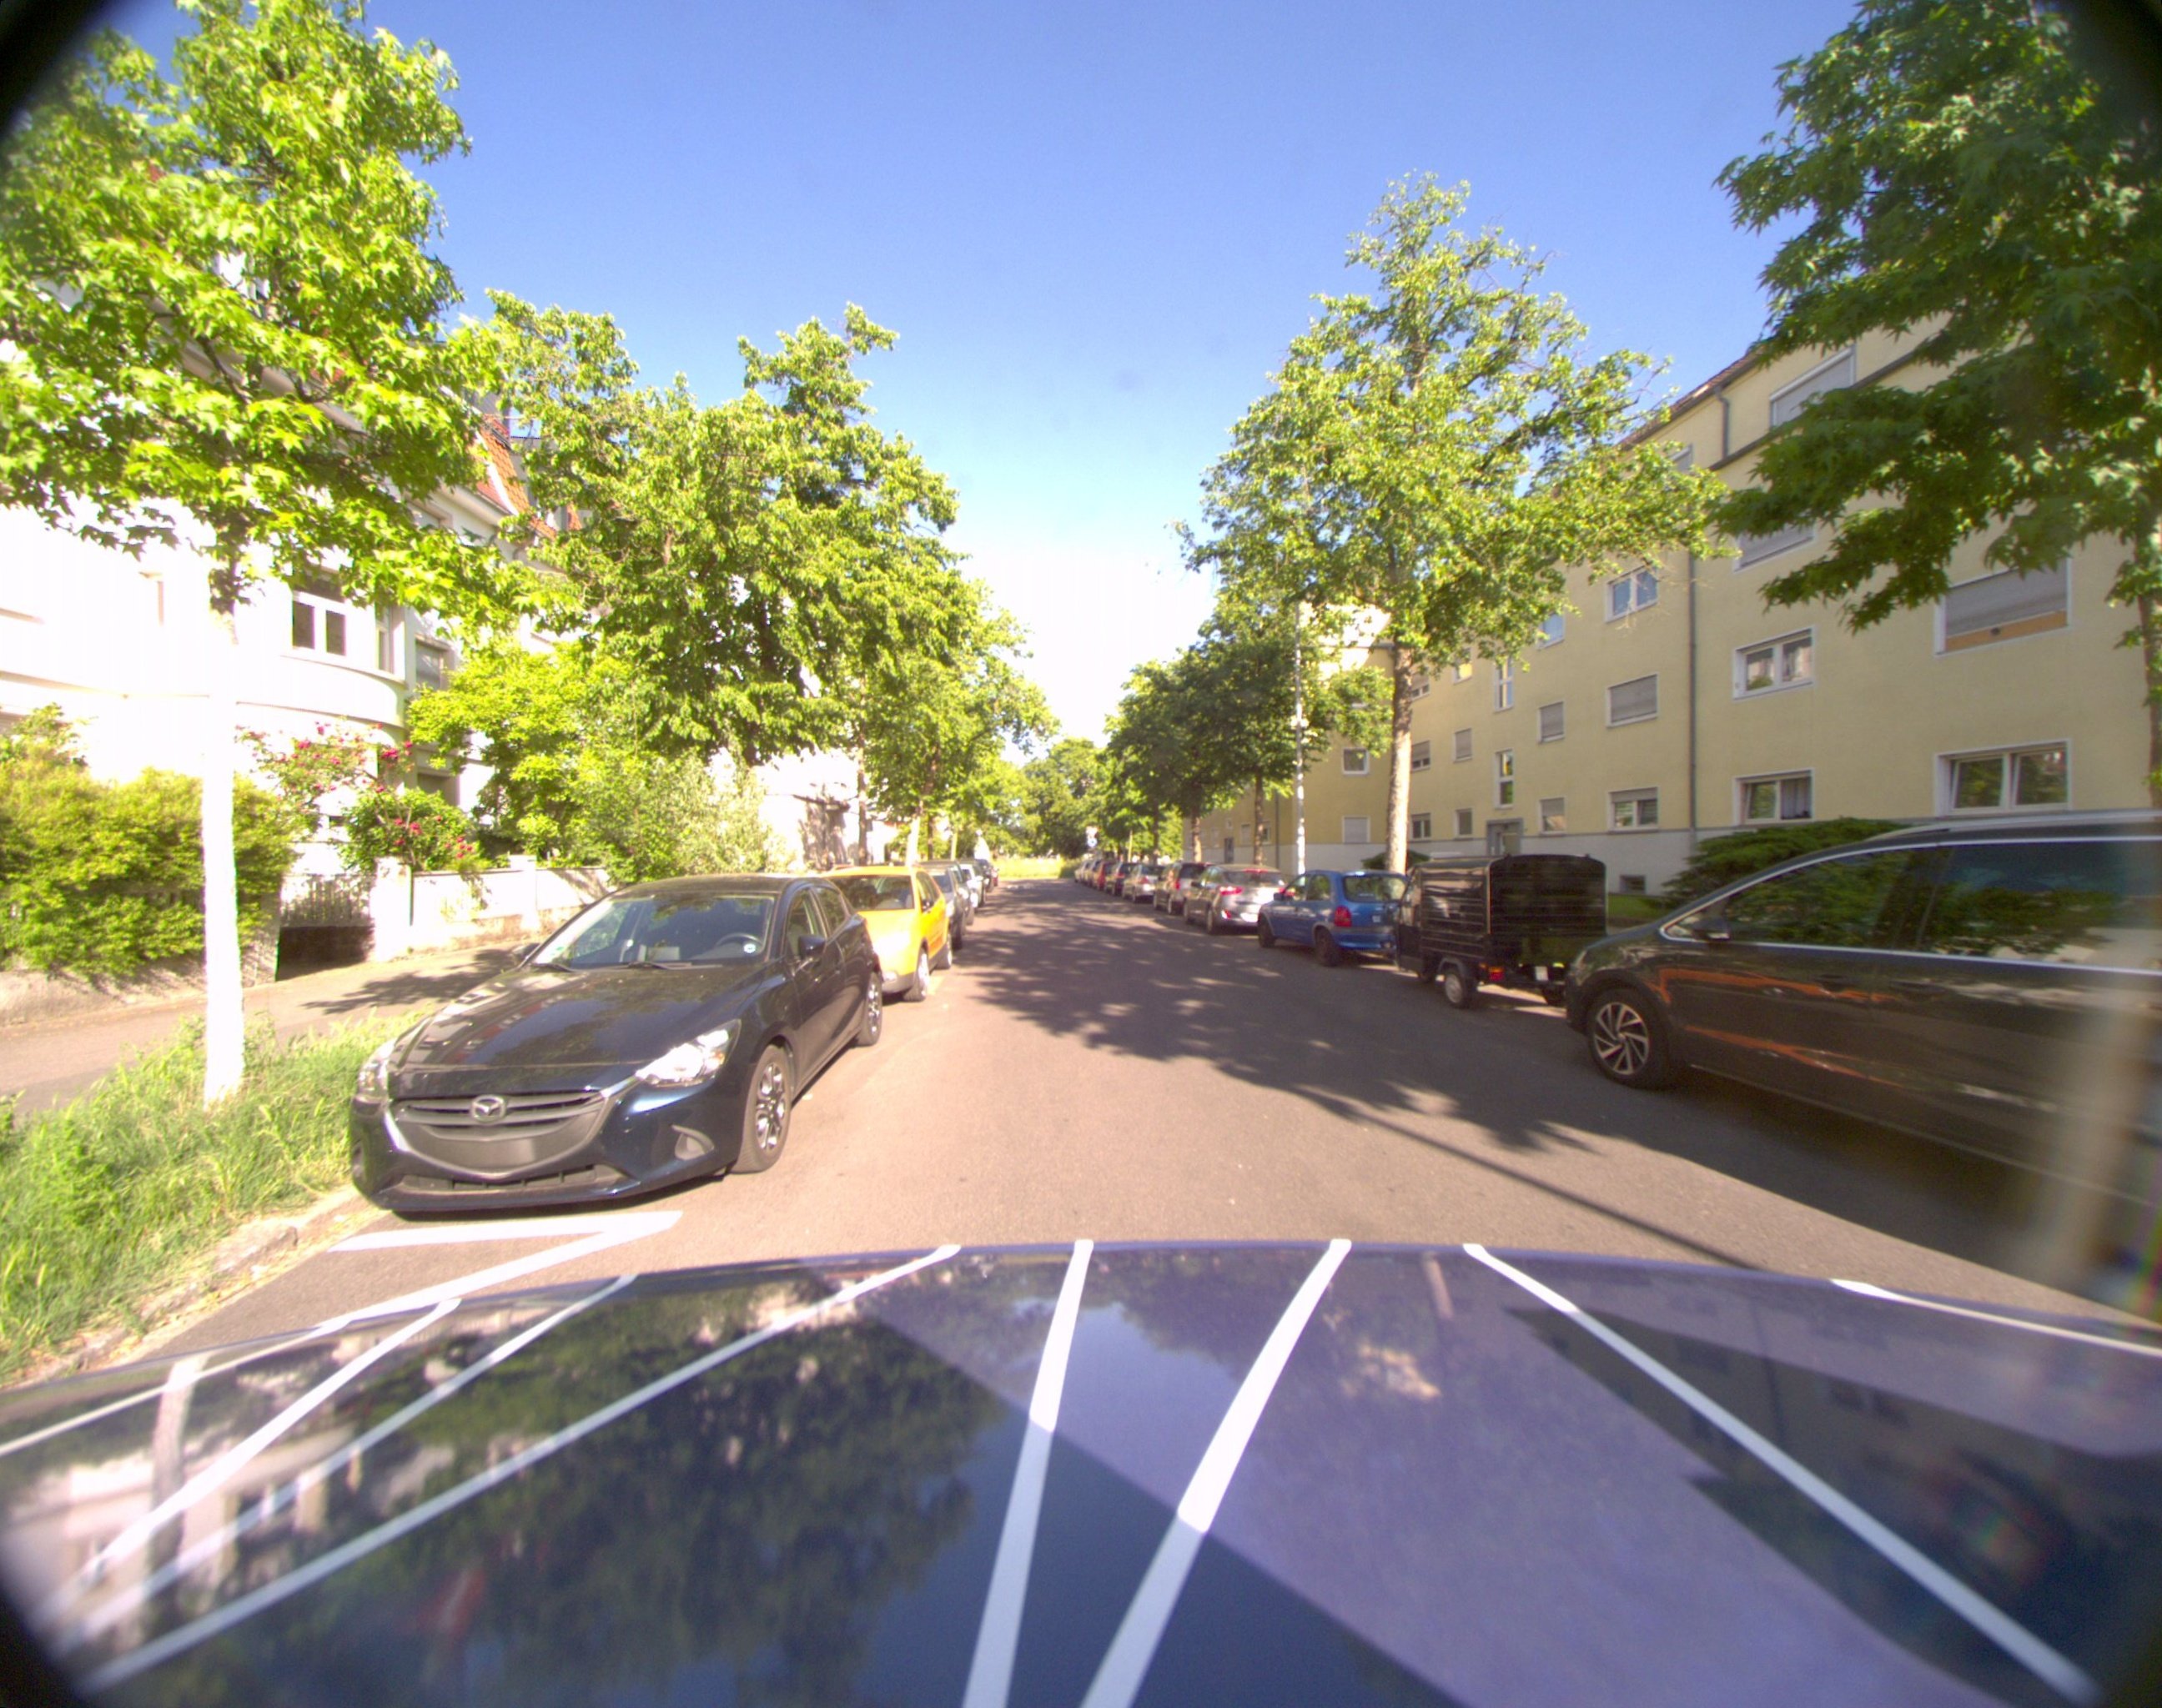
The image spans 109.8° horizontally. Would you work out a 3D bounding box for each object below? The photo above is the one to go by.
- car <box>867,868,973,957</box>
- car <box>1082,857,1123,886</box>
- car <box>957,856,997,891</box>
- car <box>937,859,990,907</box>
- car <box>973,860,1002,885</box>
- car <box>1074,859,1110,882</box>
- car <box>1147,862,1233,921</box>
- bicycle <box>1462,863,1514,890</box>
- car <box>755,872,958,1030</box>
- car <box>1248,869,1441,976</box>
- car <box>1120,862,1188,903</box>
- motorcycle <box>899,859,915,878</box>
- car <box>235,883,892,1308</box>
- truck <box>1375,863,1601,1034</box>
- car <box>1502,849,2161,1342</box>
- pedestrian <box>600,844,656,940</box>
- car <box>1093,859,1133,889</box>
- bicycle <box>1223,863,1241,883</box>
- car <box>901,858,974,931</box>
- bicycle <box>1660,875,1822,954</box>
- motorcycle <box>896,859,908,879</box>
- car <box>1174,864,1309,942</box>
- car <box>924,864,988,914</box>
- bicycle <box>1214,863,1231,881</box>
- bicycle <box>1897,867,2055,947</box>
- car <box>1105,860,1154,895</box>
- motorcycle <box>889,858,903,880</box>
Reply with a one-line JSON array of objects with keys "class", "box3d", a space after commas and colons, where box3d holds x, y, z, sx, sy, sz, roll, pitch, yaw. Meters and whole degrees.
[{"class": "car", "box3d": [-2.958, 1.013, 14.551, 1.654, 1.420, 3.610, 0, 0, -7]}, {"class": "car", "box3d": [1.195, 0.944, 43.527, 1.696, 1.555, 4.733, 0, 0, -6]}, {"class": "car", "box3d": [-5.173, 0.925, 38.057, 1.786, 1.688, 4.295, 0, 0, -5]}, {"class": "car", "box3d": [-4.381, 1.032, 28.835, 1.689, 1.579, 4.533, -3, 0, -6]}, {"class": "car", "box3d": [-5.613, 1.046, 45.144, 1.616, 1.401, 4.348, 0, 0, -8]}, {"class": "car", "box3d": [0.706, 1.038, 49.927, 1.765, 1.433, 3.991, 0, 0, -8]}, {"class": "car", "box3d": [3.144, 1.035, 22.729, 1.625, 1.506, 4.267, 2, 0, -4]}, {"class": "bicycle", "box3d": [13.952, 0.765, 26.052, 1.638, 0.925, 0.480, 0, 0, -13]}, {"class": "car", "box3d": [-2.526, 0.994, 9.509, 1.641, 1.446, 4.098, 0, 0, -5]}, {"class": "car", "box3d": [4.048, 0.978, 12.313, 1.525, 1.387, 3.725, 0, 0, -6]}, {"class": "car", "box3d": [2.662, 1.023, 28.644, 1.750, 1.360, 4.672, 0, 0, -5]}, {"class": "motorcycle", "box3d": [-12.188, 0.992, 53.338, 0.974, 1.321, 1.851, -1, 0, -10]}, {"class": "car", "box3d": [-2.452, 0.985, 4.936, 1.705, 1.440, 4.080, 0, 0, -4]}, {"class": "truck", "box3d": [4.265, 0.888, 8.293, 1.087, 1.568, 2.431, 0, 0, -3]}, {"class": "car", "box3d": [4.526, 0.855, 3.670, 1.855, 1.670, 4.974, 2, 0, -5]}, {"class": "pedestrian", "box3d": [-8.535, 0.700, 14.343, 0.624, 1.764, 0.799, 0, 0, -5]}, {"class": "car", "box3d": [1.588, 0.976, 38.963, 1.670, 1.477, 3.255, 0, 0, -4]}, {"class": "bicycle", "box3d": [8.105, 0.998, 40.853, 0.537, 1.021, 1.747, 0, 0, -3]}, {"class": "car", "box3d": [-3.612, 0.948, 19.631, 1.654, 1.646, 3.844, -1, 0, -8]}, {"class": "bicycle", "box3d": [10.249, 0.895, 11.881, 0.487, 1.075, 1.841, -3, 2, -29]}, {"class": "motorcycle", "box3d": [-12.117, 1.005, 51.468, 0.659, 1.272, 1.798, 1, 0, -11]}, {"class": "car", "box3d": [3.411, 0.995, 17.119, 1.797, 1.436, 4.686, 1, 0, -3]}, {"class": "car", "box3d": [-3.894, 1.053, 24.266, 1.634, 1.416, 4.366, 0, 0, -5]}, {"class": "bicycle", "box3d": [7.939, 1.000, 42.778, 0.542, 1.021, 1.747, 0, 0, -3]}, {"class": "bicycle", "box3d": [13.353, 0.774, 11.350, 1.844, 1.075, 0.486, -3, 2, -2]}, {"class": "car", "box3d": [2.118, 0.995, 34.093, 1.670, 1.450, 3.931, 0, 0, -4]}, {"class": "motorcycle", "box3d": [-11.961, 0.955, 49.112, 0.541, 1.353, 2.088, -1, 0, -5]}]
